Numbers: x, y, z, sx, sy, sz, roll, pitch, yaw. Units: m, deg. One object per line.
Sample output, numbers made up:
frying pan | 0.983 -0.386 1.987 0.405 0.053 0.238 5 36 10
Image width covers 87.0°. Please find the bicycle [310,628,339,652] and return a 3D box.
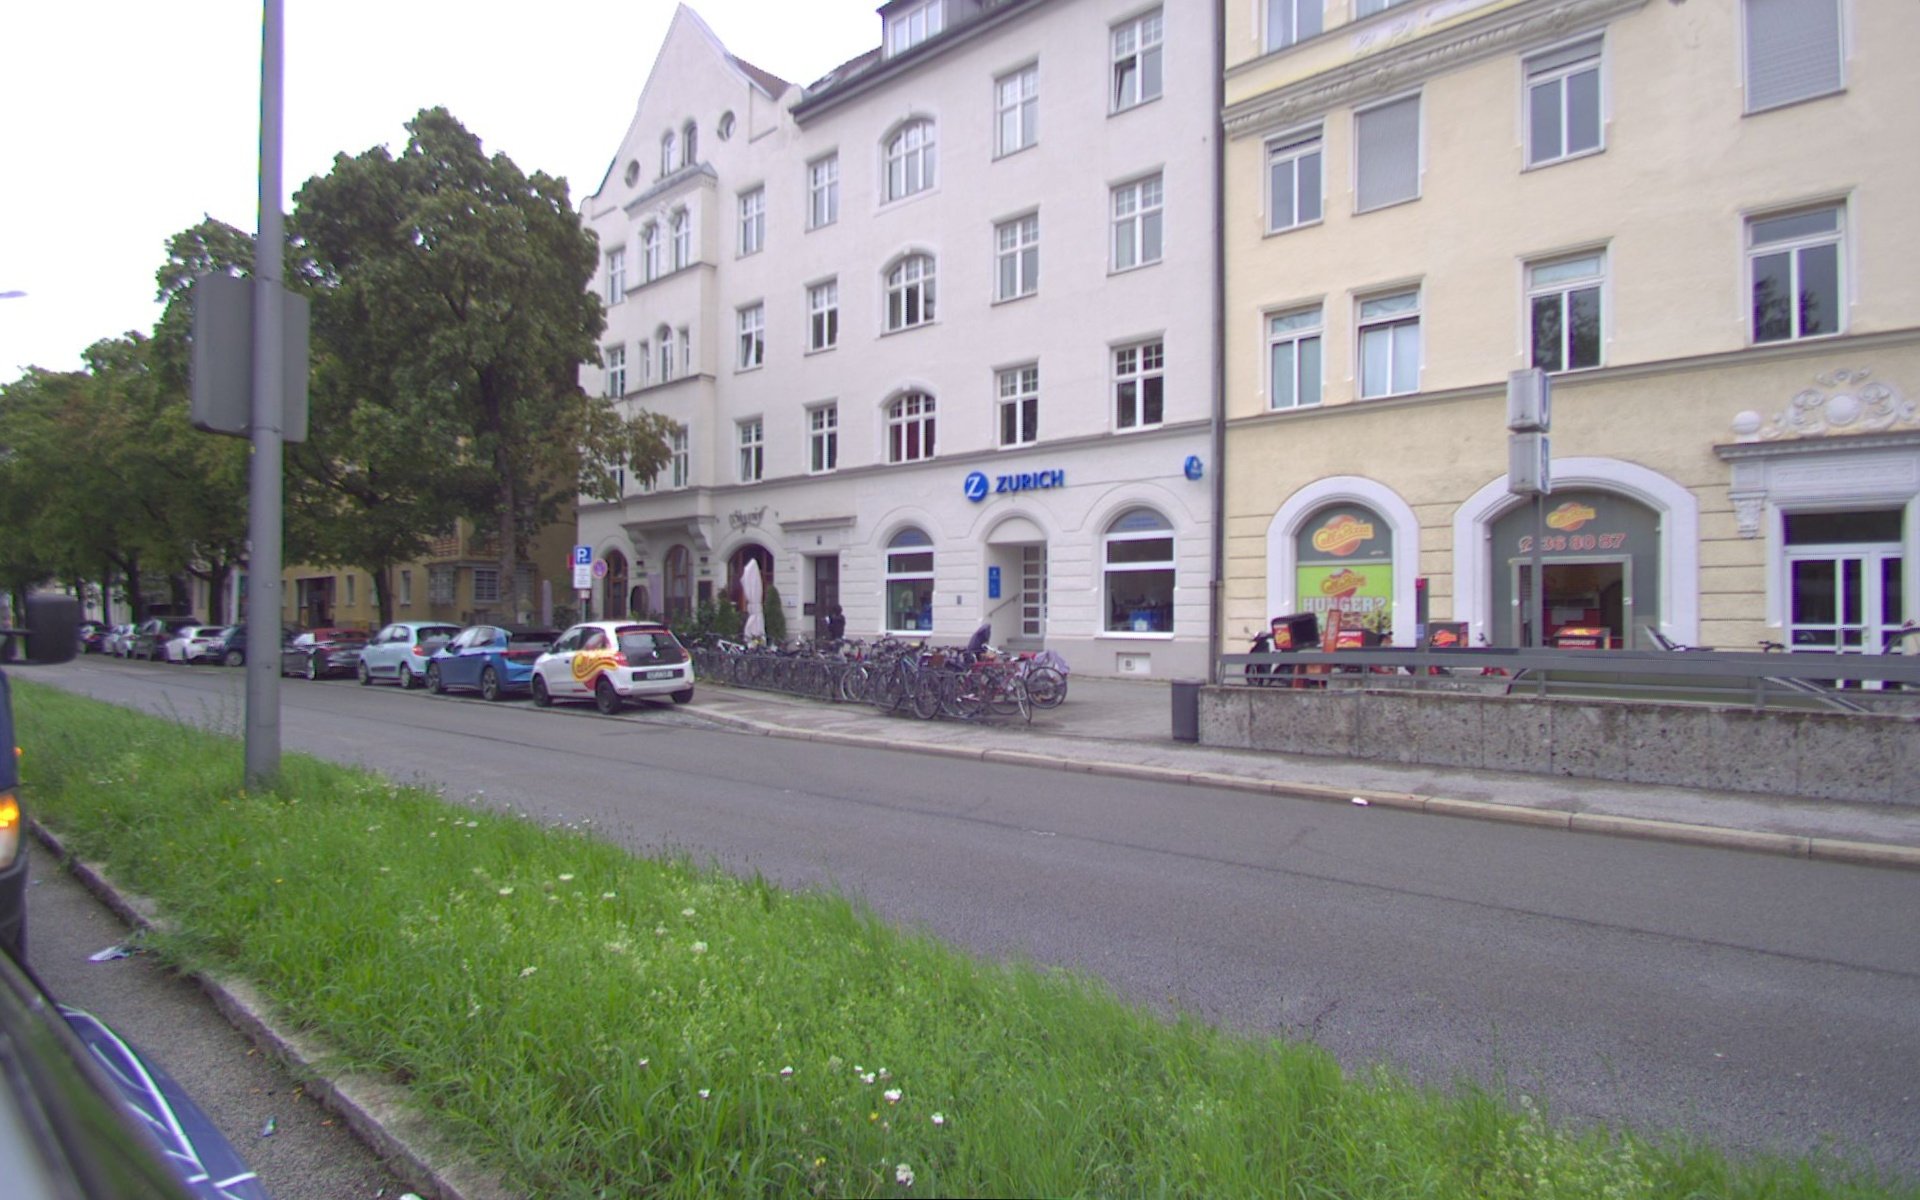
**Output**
bicycle | -33.223 2.089 52.891 1.929 1.231 0.762 -1 -2 41

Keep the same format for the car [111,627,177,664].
car | -36.160 1.982 44.829 3.007 1.569 1.710 -1 -2 39

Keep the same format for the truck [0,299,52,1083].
truck | -5.572 0.317 4.275 5.148 2.508 1.973 -1 -2 41

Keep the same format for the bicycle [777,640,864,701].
bicycle | -2.663 1.323 19.276 1.667 1.124 0.328 -1 -2 18

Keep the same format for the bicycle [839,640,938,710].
bicycle | -1.208 1.245 17.001 1.667 1.124 0.328 -1 -2 18

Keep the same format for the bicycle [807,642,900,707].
bicycle | -1.909 1.312 18.102 1.667 1.124 0.328 -1 -2 18

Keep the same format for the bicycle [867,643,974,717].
bicycle | -0.628 1.246 15.940 1.667 1.124 0.328 -1 -2 18

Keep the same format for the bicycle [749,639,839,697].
bicycle | -3.341 1.357 20.346 1.859 1.124 0.328 -1 -2 18

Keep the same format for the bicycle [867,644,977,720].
bicycle | -0.593 1.241 15.516 1.667 1.124 0.366 -1 -2 18

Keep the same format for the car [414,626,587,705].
car | -9.919 1.318 21.716 4.289 1.518 1.792 -1 -2 41

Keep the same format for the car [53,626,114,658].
car | -47.251 2.236 54.516 4.768 1.658 1.859 -1 -2 41

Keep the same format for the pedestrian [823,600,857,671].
pedestrian | -2.853 0.841 23.984 0.416 1.644 0.784 1 -2 -43

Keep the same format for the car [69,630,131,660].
car | -42.954 2.220 50.517 4.361 1.416 1.709 -1 -2 41

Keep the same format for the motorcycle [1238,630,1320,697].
motorcycle | 5.866 1.143 18.724 0.600 1.139 1.991 0 -1 -9

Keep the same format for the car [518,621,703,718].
car | -6.465 1.191 18.562 3.790 1.597 1.631 -1 -2 43

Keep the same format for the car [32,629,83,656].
car | -51.969 2.431 58.256 4.490 1.465 1.674 -1 -2 41

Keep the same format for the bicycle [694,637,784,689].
bicycle | -4.943 1.406 22.685 1.944 1.124 0.457 -1 -1 10

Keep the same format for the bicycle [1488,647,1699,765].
bicycle | 6.503 1.058 10.477 1.808 1.124 0.392 -1 -2 33

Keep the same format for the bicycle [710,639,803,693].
bicycle | -4.324 1.393 21.520 1.860 1.124 0.548 -1 -1 10

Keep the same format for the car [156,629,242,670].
car | -28.728 1.826 38.146 4.401 1.413 1.708 -1 -2 41

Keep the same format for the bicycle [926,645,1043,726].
bicycle | 0.347 1.224 14.698 1.667 1.124 0.328 -1 -2 18

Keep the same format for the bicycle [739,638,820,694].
bicycle | -3.744 1.360 20.957 1.664 1.124 0.329 -1 -1 14

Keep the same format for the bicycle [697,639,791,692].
bicycle | -4.706 1.420 22.103 1.966 1.124 0.503 -1 -1 10

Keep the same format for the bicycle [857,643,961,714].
bicycle | -0.826 1.259 16.426 1.667 1.124 0.365 -1 -2 18

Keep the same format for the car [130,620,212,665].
car | -32.728 1.722 41.946 4.765 1.741 1.791 -1 -2 41

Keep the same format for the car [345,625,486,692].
car | -13.446 1.378 24.900 3.958 1.518 1.792 -1 -2 41

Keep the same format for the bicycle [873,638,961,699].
bicycle | -0.822 1.285 19.179 1.667 1.124 0.328 -1 -2 18

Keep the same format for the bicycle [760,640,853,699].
bicycle | -3.020 1.356 19.828 1.859 1.124 0.328 -1 -2 18

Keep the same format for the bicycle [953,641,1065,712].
bicycle | 0.806 1.242 16.715 1.799 1.124 0.394 -1 -2 18

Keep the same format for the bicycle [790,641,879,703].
bicycle | -2.330 1.318 18.729 1.667 1.124 0.328 -1 -2 18

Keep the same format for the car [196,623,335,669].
car | -25.194 1.626 36.803 1.730 1.475 3.851 -1 -1 39

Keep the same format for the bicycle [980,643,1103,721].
bicycle | 1.219 1.213 15.160 1.799 1.124 0.394 -1 -2 18

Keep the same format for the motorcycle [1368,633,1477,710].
motorcycle | 7.527 1.131 16.575 0.600 1.130 1.991 0 -1 -9

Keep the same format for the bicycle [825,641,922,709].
bicycle | -1.501 1.282 17.503 1.667 1.124 0.380 -1 -2 18

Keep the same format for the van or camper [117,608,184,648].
van or camper | -55.006 1.886 68.720 6.847 2.599 2.321 -1 -2 41

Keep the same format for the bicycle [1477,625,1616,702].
bicycle | 7.870 0.829 13.625 1.544 0.988 0.468 -1 -2 41

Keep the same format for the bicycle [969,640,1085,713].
bicycle | 1.064 1.208 16.161 1.799 1.124 0.394 -1 -2 18

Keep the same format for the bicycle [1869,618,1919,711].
bicycle | 10.643 0.683 10.673 1.544 0.988 0.468 -1 -2 41

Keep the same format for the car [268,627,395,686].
car | -17.846 1.532 28.662 4.643 1.518 1.792 -1 -2 41

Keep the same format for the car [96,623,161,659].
car | -39.070 1.895 47.510 4.055 1.573 1.709 -1 -2 41
